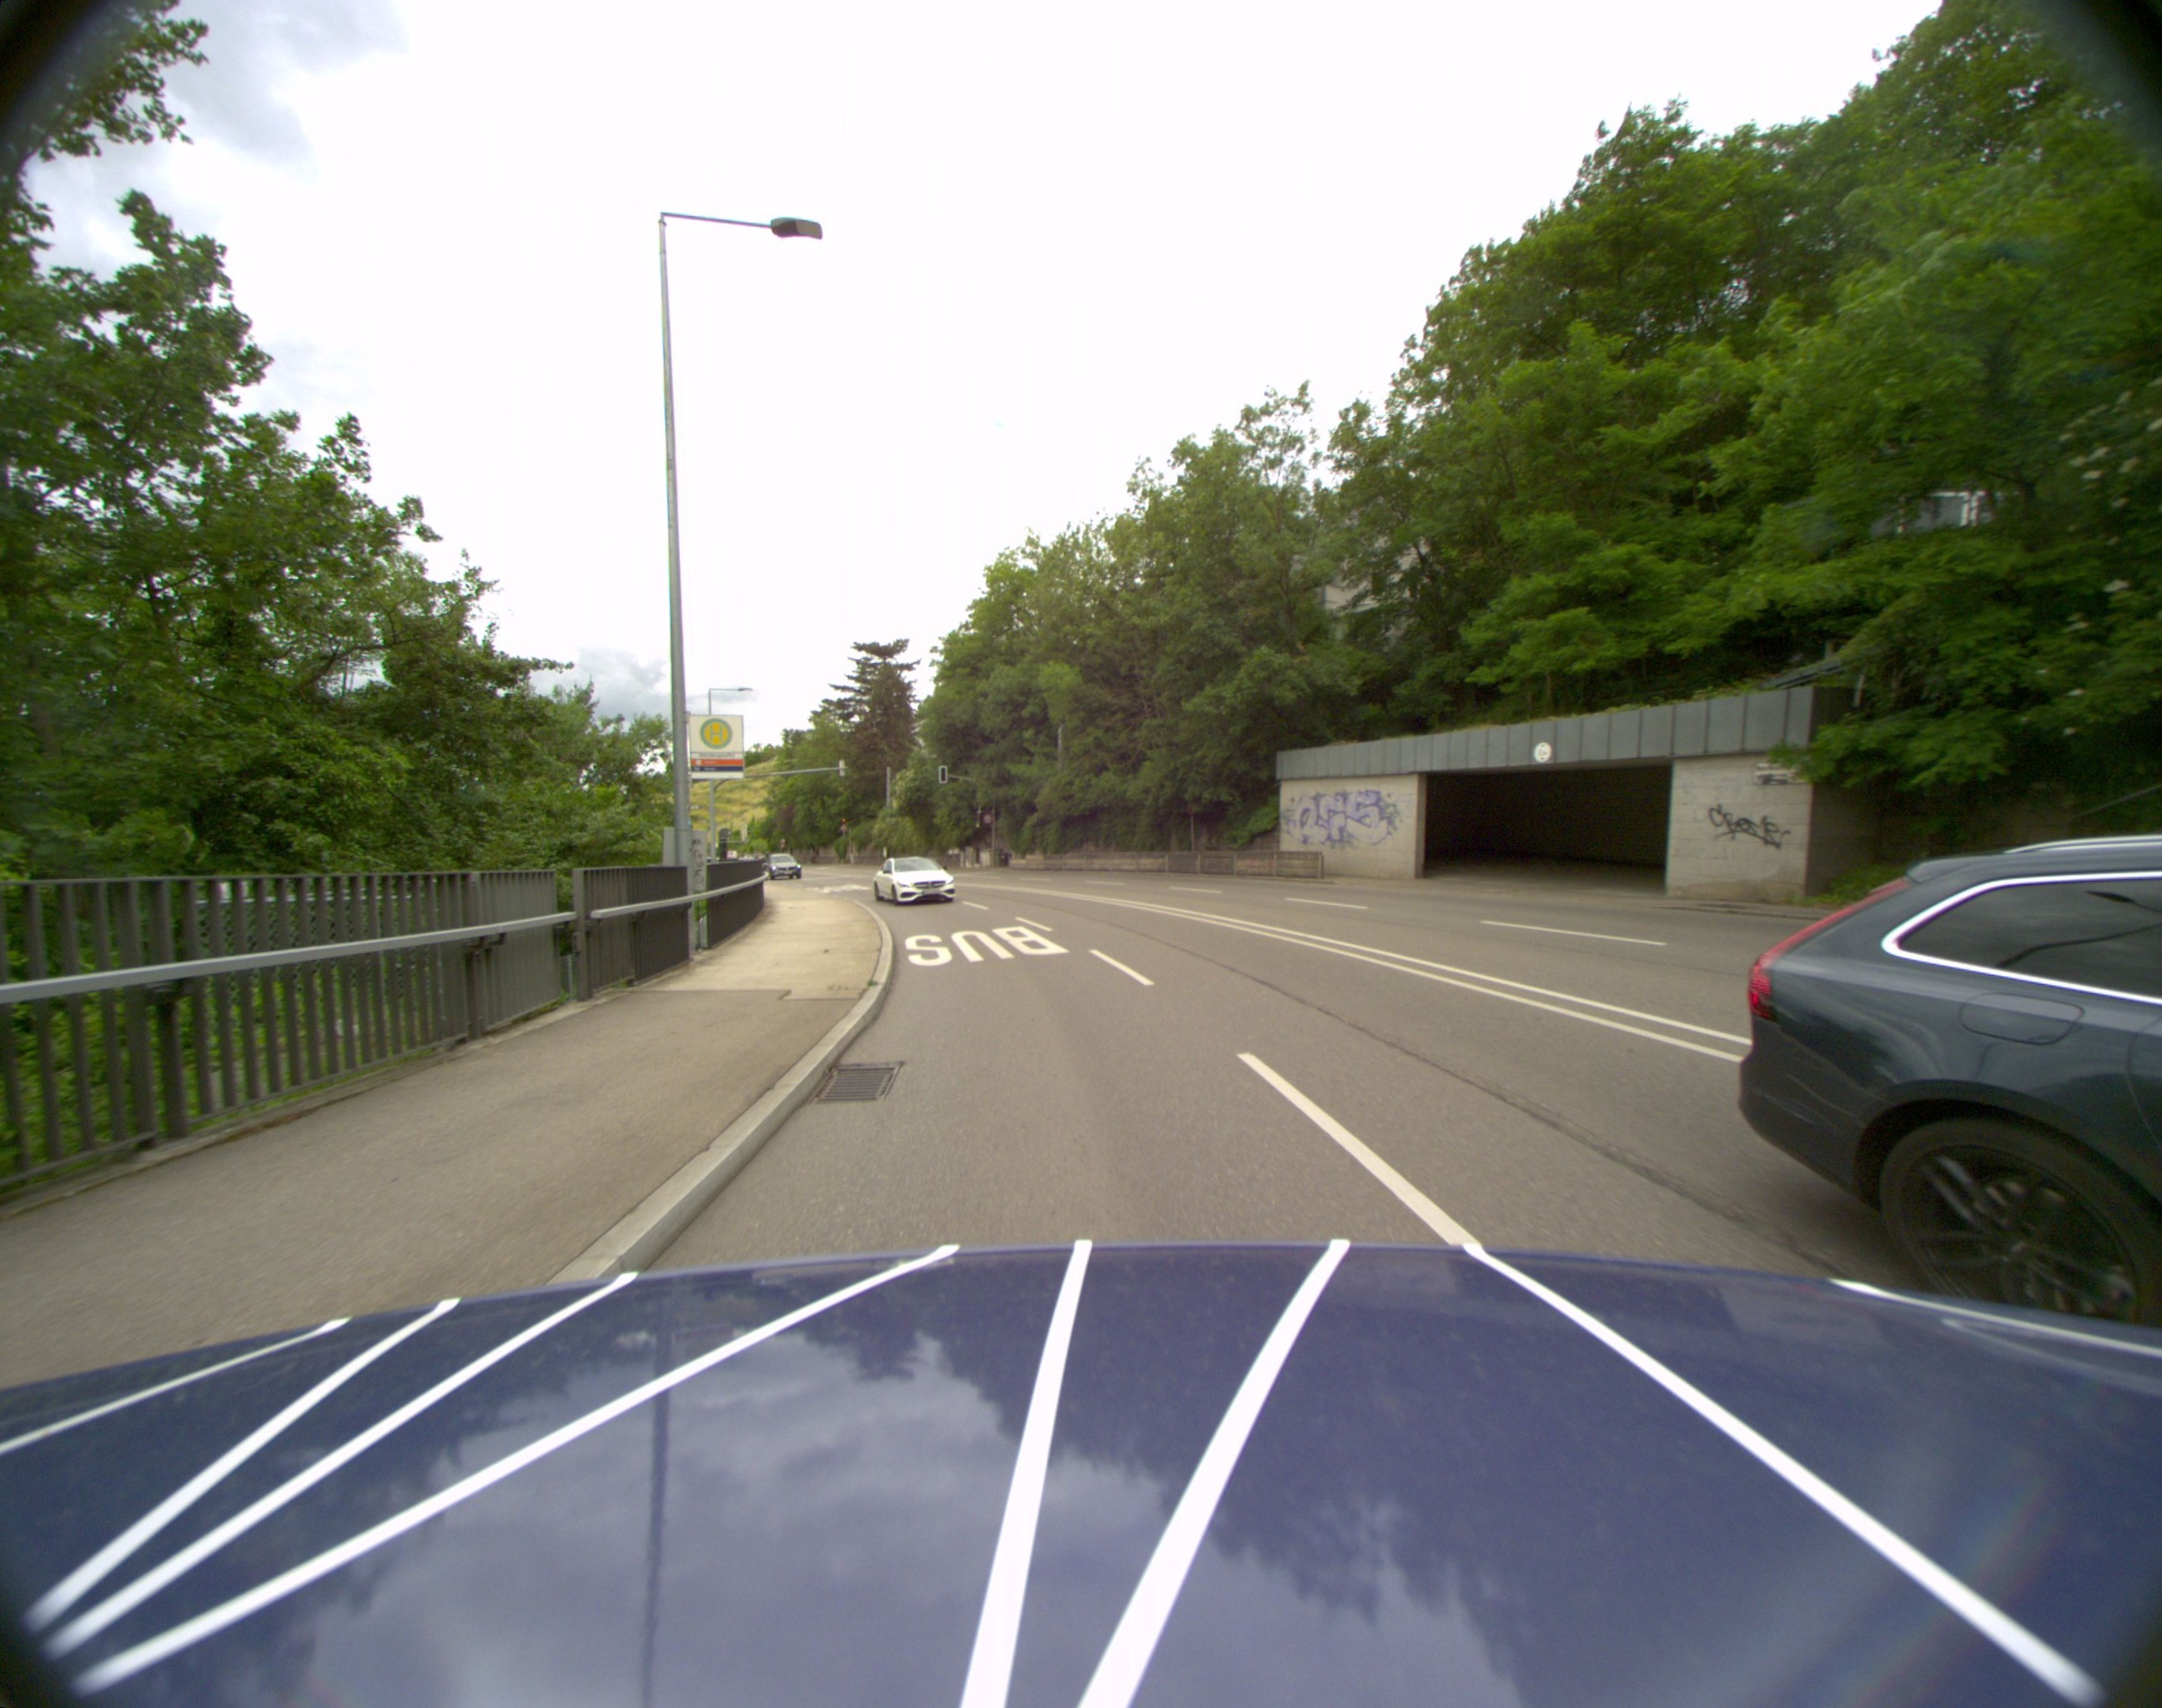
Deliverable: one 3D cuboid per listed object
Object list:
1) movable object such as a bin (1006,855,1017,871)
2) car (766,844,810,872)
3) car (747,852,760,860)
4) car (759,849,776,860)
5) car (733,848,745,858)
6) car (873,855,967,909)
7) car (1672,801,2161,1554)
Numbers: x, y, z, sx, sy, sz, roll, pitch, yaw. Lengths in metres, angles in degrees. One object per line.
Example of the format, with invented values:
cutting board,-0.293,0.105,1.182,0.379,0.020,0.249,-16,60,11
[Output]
movable object such as a bin,-4.157,0.544,45.753,0.429,0.945,0.478,-6,3,-31
car,-18.866,0.250,48.790,2.002,1.580,3.990,-5,3,-29
car,-61.518,0.365,142.703,1.683,1.434,4.223,-5,2,-29
car,-47.924,0.124,116.115,1.789,1.474,4.202,-5,2,-29
car,-77.116,-0.202,171.099,1.930,1.993,5.343,-3,1,-29
car,-5.190,0.849,24.069,1.906,1.419,4.257,-4,1,-25
car,3.346,0.721,0.404,1.940,1.568,5.024,-4,2,-3
